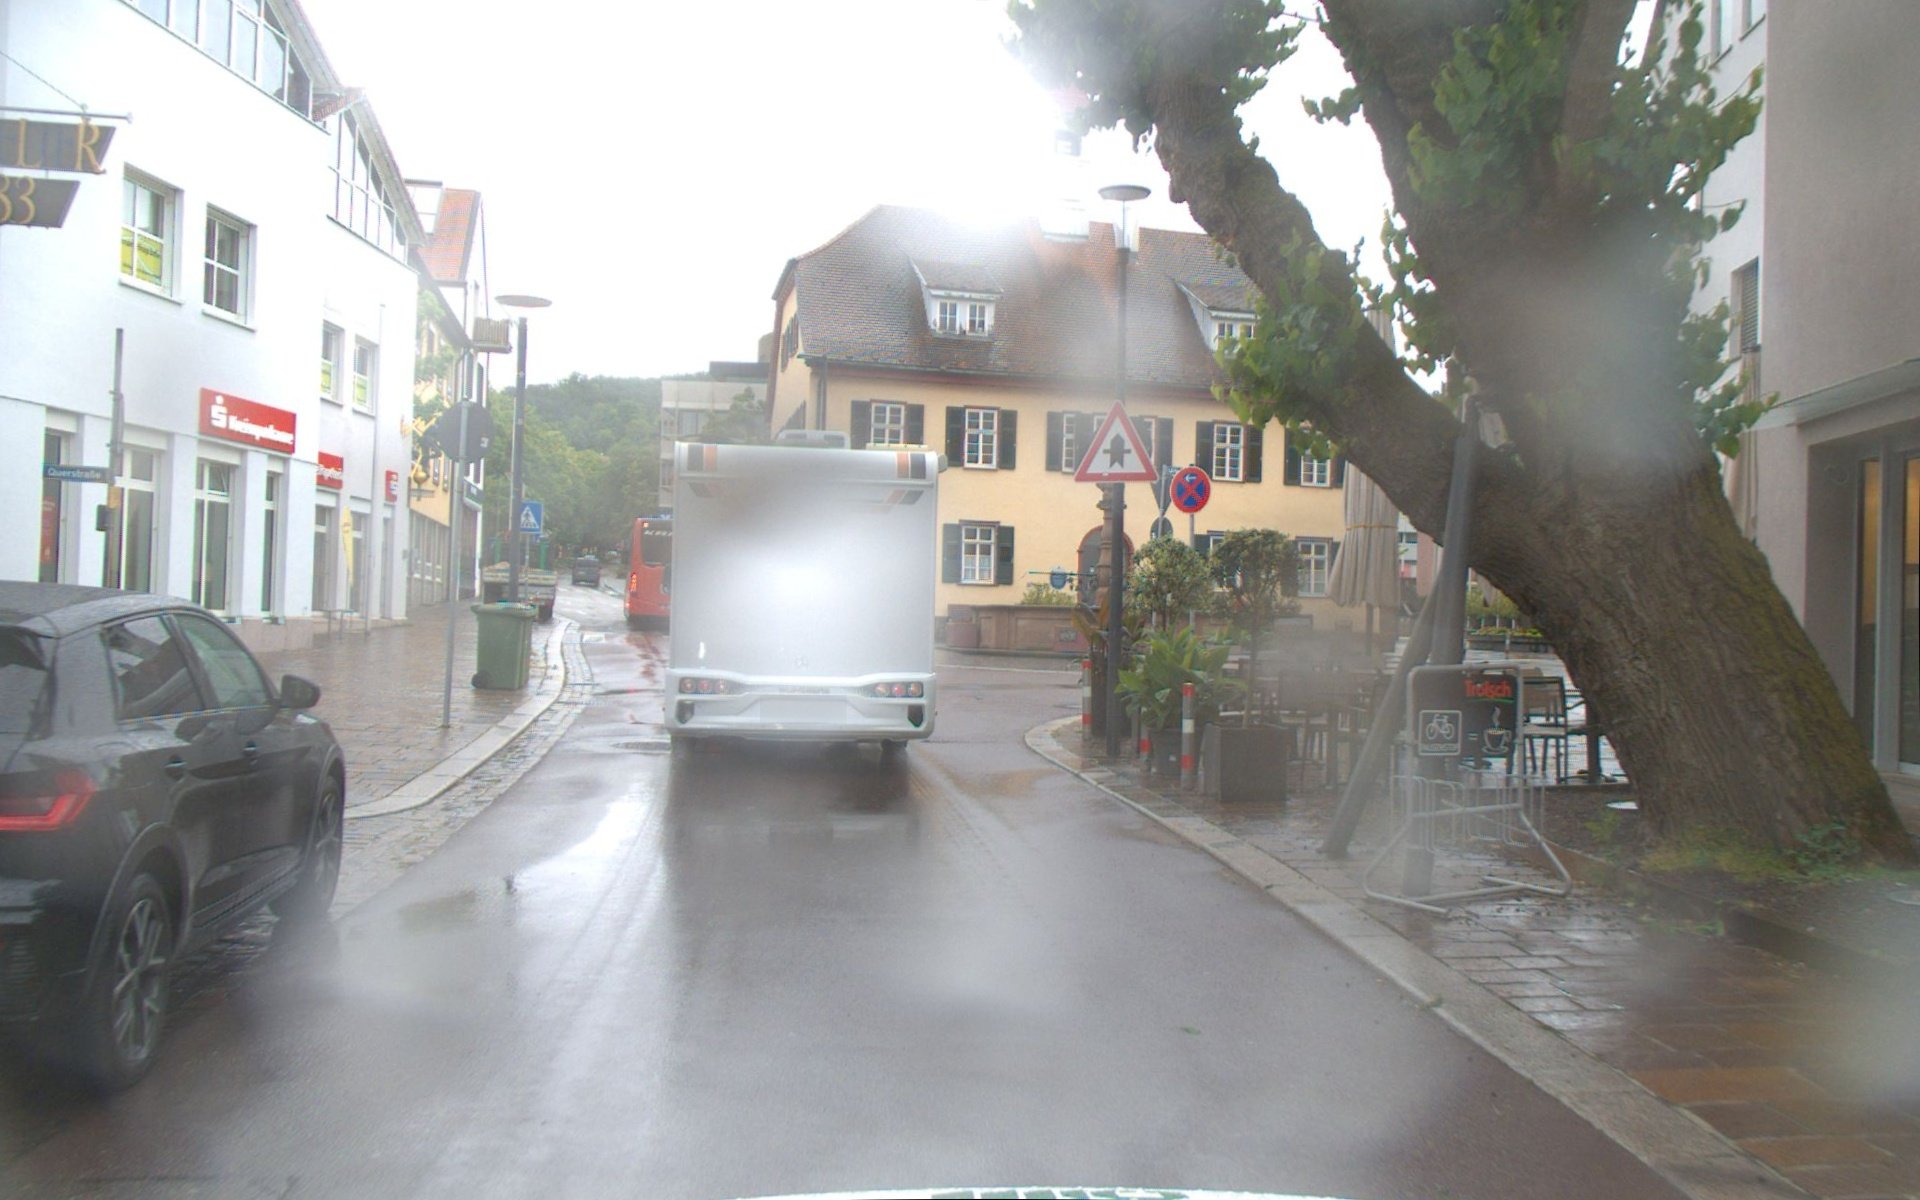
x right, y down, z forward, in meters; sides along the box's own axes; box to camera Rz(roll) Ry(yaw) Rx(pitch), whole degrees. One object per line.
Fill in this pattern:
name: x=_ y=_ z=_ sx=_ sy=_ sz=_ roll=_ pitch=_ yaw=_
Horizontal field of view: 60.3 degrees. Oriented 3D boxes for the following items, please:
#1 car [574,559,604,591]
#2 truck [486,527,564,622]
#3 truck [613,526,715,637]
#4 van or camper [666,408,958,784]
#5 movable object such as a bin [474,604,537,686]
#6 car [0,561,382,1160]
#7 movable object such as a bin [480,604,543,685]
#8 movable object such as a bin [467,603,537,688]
car: x=-26.117 y=-1.748 z=116.339 sx=1.960 sy=2.049 sz=3.985 roll=1 pitch=-1 yaw=-14
truck: x=-13.992 y=-0.741 z=53.215 sx=2.242 sy=2.806 sz=5.546 roll=1 pitch=-1 yaw=-15
truck: x=-8.779 y=-0.441 z=48.600 sx=2.420 sy=2.991 sz=6.173 roll=1 pitch=-1 yaw=-15
van or camper: x=-1.650 y=0.051 z=16.392 sx=2.283 sy=2.970 sz=6.379 roll=1 pitch=-1 yaw=-9
movable object such as a bin: x=-6.091 y=0.604 z=22.171 sx=0.752 sy=1.069 sz=0.522 roll=1 pitch=-2 yaw=-12
car: x=-3.532 y=0.620 z=6.047 sx=1.957 sy=1.520 sz=3.991 roll=3 pitch=0 yaw=-10
movable object such as a bin: x=-6.213 y=0.620 z=22.930 sx=0.752 sy=1.069 sz=0.522 roll=4 pitch=-2 yaw=-12
movable object such as a bin: x=-5.948 y=0.591 z=21.525 sx=0.804 sy=1.069 sz=0.698 roll=1 pitch=-2 yaw=-12
